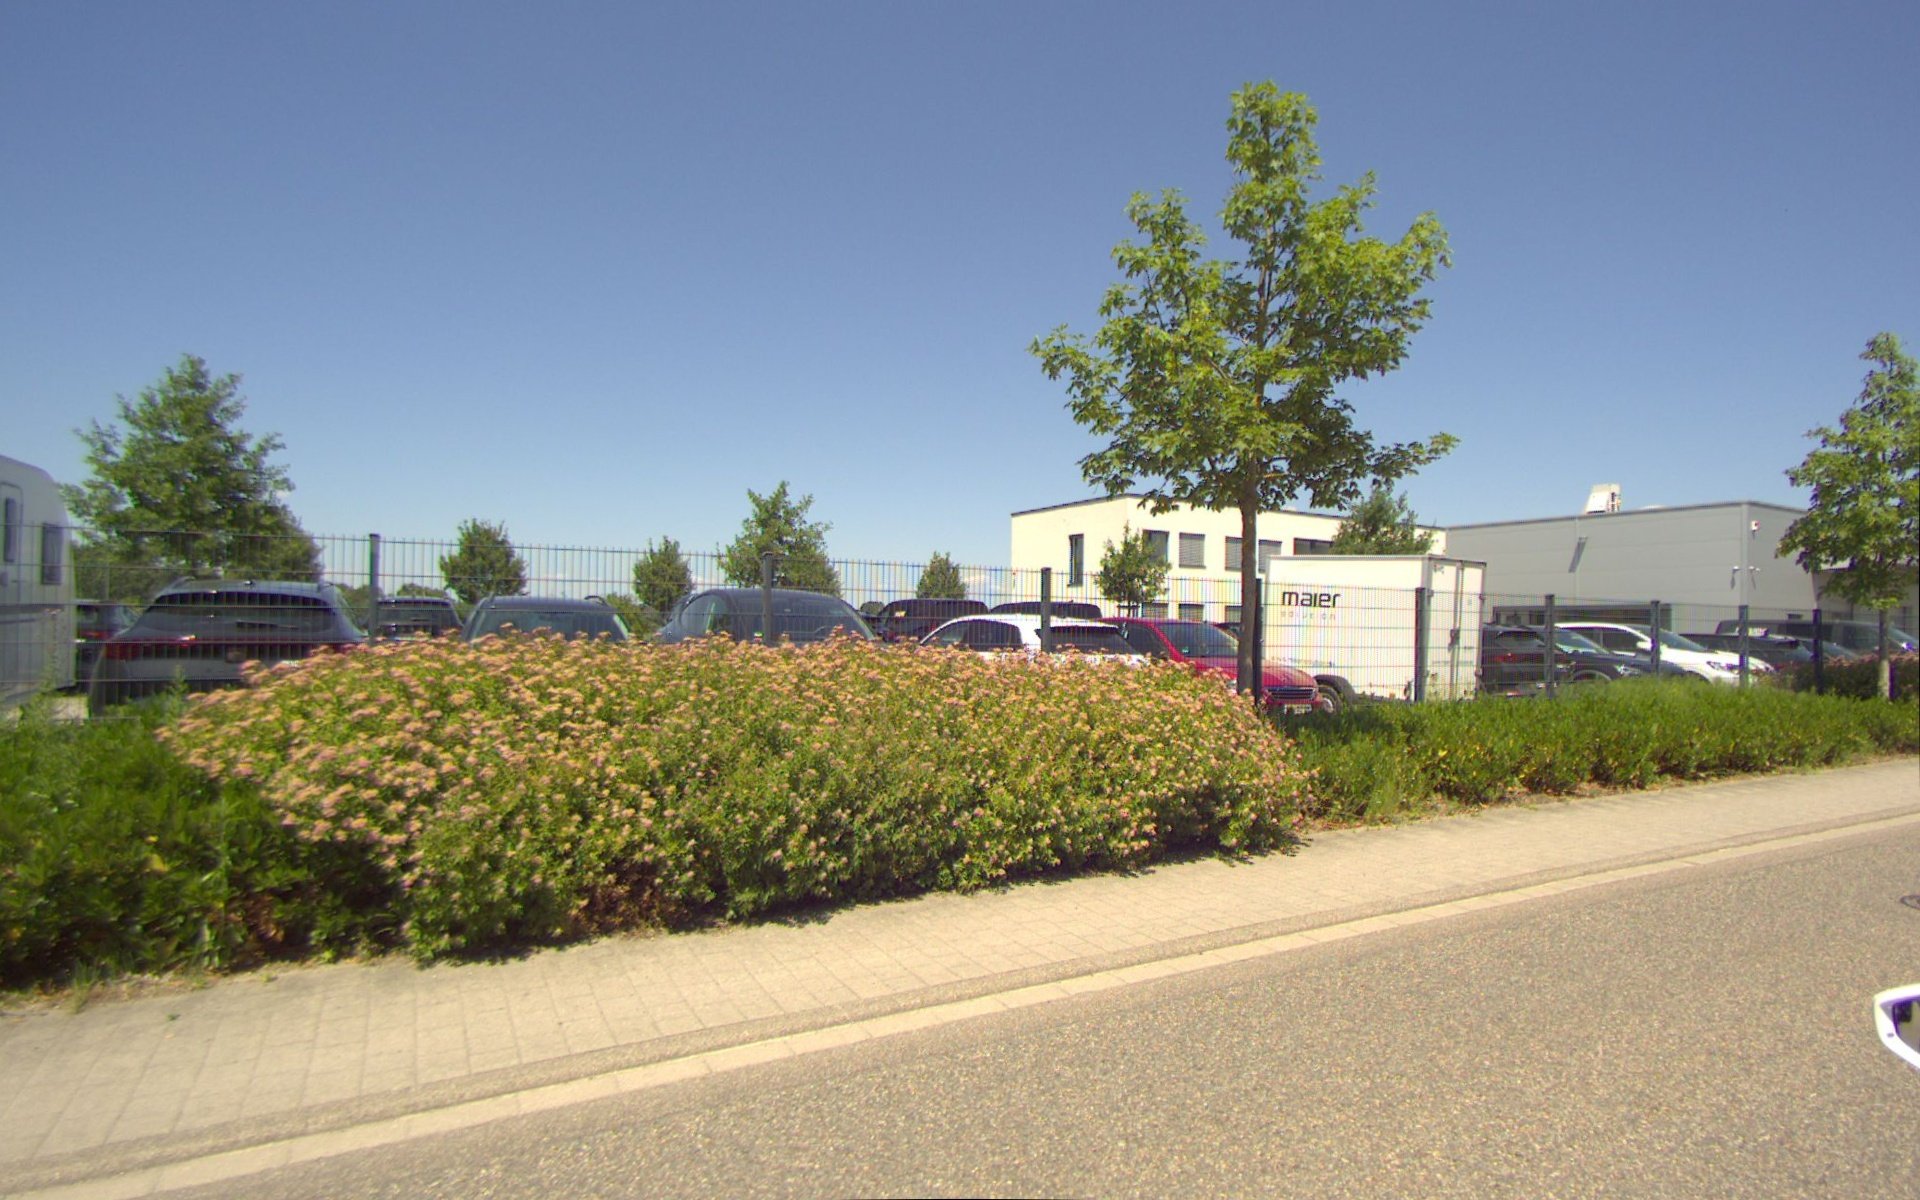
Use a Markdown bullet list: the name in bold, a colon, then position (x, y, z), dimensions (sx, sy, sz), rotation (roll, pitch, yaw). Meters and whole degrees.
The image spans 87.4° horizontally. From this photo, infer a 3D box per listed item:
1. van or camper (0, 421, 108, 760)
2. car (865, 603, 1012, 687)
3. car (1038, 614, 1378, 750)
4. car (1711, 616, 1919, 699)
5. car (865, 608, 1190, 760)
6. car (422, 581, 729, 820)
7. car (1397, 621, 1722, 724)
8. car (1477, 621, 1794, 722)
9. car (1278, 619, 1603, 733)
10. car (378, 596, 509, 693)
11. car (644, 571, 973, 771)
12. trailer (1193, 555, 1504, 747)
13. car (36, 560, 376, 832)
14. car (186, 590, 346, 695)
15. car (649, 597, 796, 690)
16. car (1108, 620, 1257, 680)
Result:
- **van or camper**: position (-8.617, -0.106, 7.066), dimensions (2.543, 2.719, 6.749), rotation (2, -2, -28)
- **car**: position (-0.607, 1.016, 23.856), dimensions (1.784, 1.795, 3.968), rotation (2, -1, -30)
- **car**: position (3.031, 0.937, 13.167), dimensions (1.977, 1.471, 4.185), rotation (2, -1, -31)
- **car**: position (21.998, 1.365, 24.929), dimensions (1.941, 1.875, 5.036), rotation (2, -1, -29)
- **car**: position (0.598, 0.858, 11.957), dimensions (1.757, 1.471, 4.184), rotation (2, -1, -32)
- **car**: position (-3.829, 0.753, 9.457), dimensions (1.759, 1.688, 4.482), rotation (2, -1, -33)
- **car**: position (10.549, 1.188, 18.093), dimensions (1.975, 1.556, 4.713), rotation (2, -1, -28)
- **car**: position (12.728, 1.264, 19.294), dimensions (1.975, 1.650, 4.713), rotation (2, -1, -28)
- **car**: position (7.607, 1.118, 16.417), dimensions (1.975, 1.556, 4.529), rotation (2, -1, -28)
- **car**: position (-9.821, 0.783, 18.964), dimensions (1.977, 1.617, 3.968), rotation (2, -1, -30)
- **car**: position (-1.856, 0.640, 10.847), dimensions (1.759, 1.688, 4.481), rotation (2, -1, -34)
- **trailer**: position (5.470, 0.628, 14.643), dimensions (1.707, 2.391, 3.965), rotation (2, 0, -32)
- **car**: position (-6.078, 0.644, 8.643), dimensions (1.756, 1.688, 4.488), rotation (2, -1, -30)
- **car**: position (-12.095, 0.704, 17.771), dimensions (1.977, 1.617, 3.968), rotation (2, -1, -30)
- **car**: position (-5.174, 0.879, 21.513), dimensions (1.977, 1.795, 3.968), rotation (2, -1, -30)
- **car**: position (6.065, 1.324, 27.761), dimensions (1.841, 1.505, 3.968), rotation (2, -1, -30)
